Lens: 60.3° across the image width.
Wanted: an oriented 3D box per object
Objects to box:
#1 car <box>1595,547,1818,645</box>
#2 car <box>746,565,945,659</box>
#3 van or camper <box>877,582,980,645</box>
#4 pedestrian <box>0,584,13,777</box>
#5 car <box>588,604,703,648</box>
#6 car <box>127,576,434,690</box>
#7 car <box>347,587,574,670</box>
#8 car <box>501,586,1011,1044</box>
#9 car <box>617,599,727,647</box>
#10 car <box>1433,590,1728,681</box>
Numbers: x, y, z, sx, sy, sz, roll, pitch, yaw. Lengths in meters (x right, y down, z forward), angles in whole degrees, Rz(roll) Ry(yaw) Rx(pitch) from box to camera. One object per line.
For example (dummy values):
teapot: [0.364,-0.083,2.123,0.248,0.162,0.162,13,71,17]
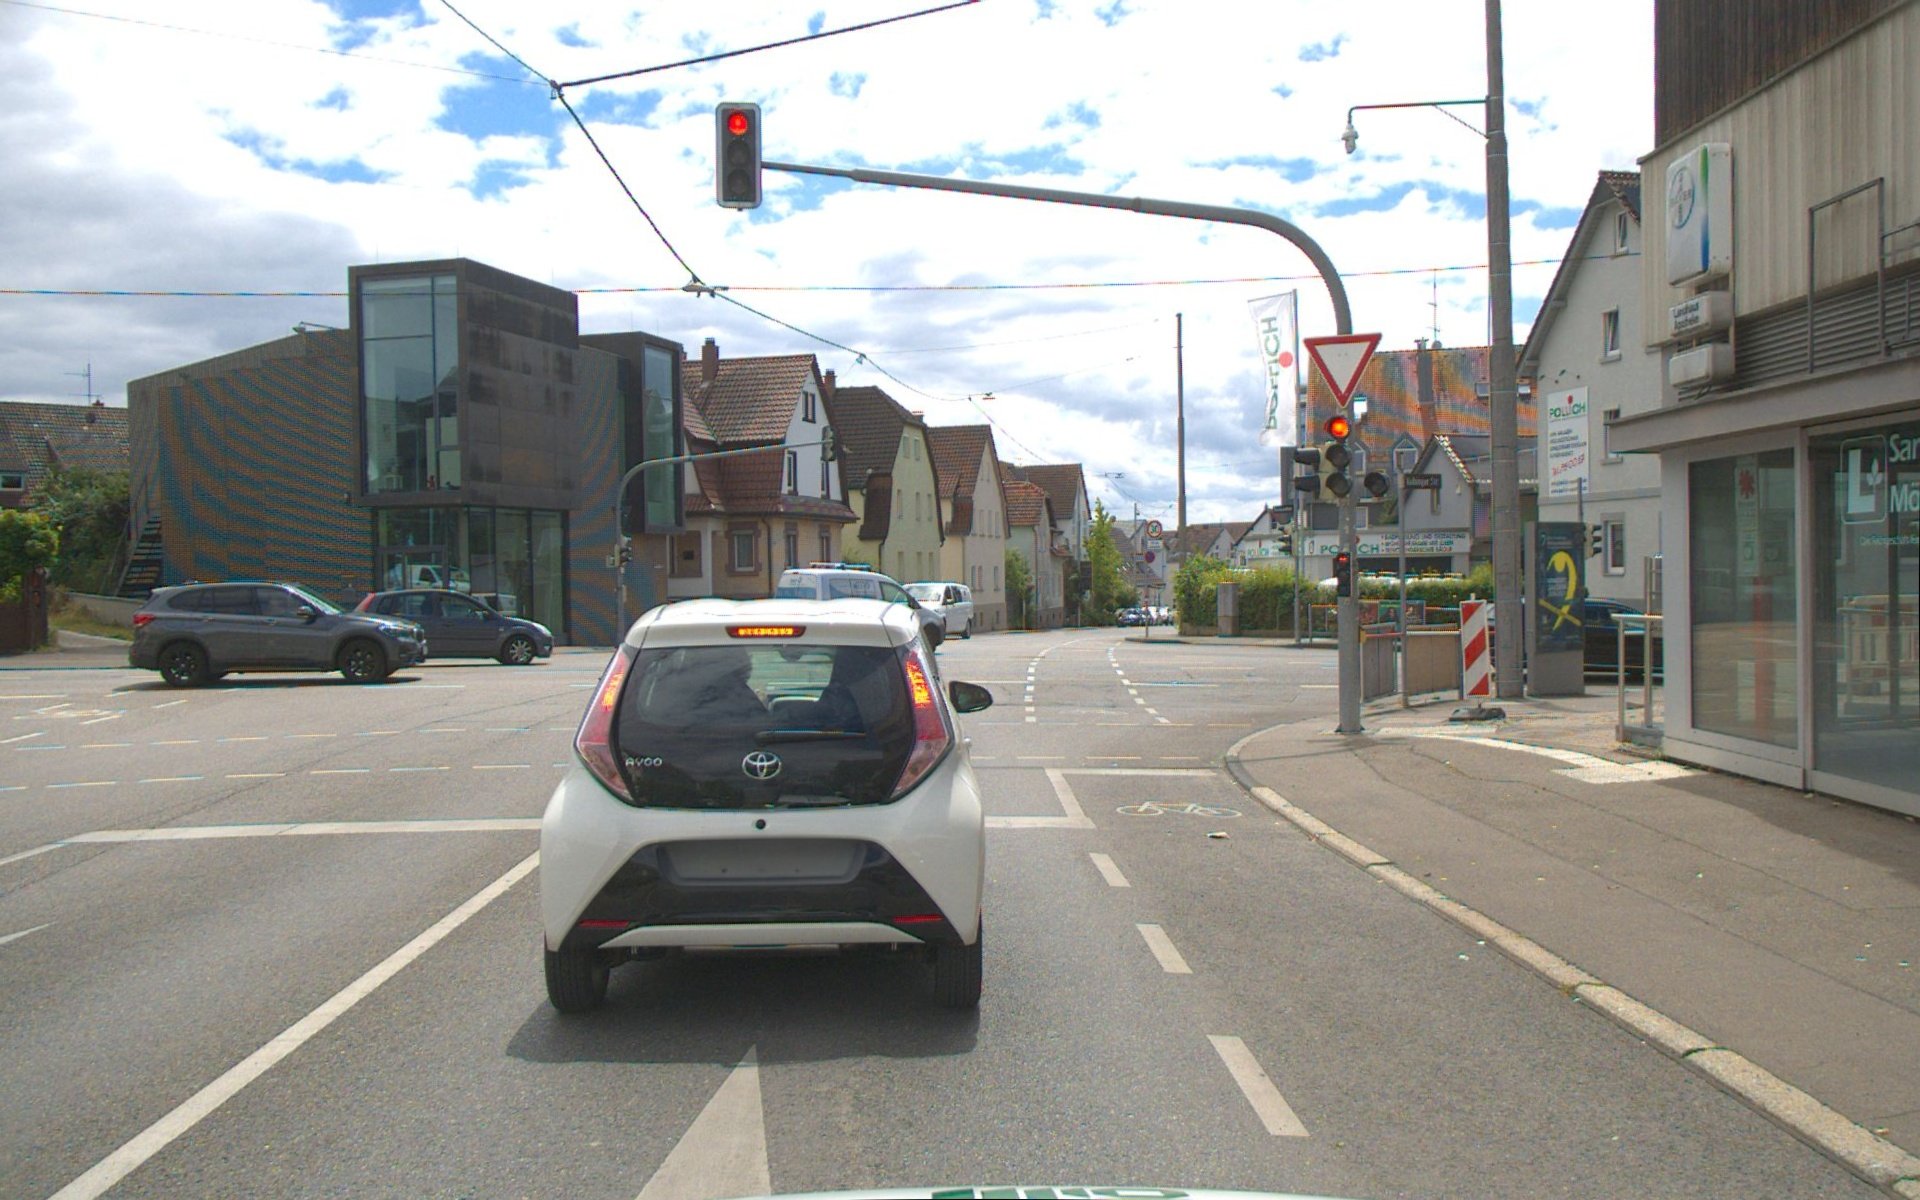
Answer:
car: [15.124,-0.099,33.550,3.914,1.870,1.995,1,0,32]
car: [-2.407,0.249,35.472,1.964,1.881,4.049,1,0,41]
van or camper: [-0.961,0.416,54.694,2.070,1.959,5.289,1,0,14]
pedestrian: [-9.111,0.738,14.841,0.807,1.751,0.816,0,0,-9]
car: [-10.896,0.892,57.437,3.537,1.444,1.693,1,0,11]
car: [-10.743,0.487,26.466,4.216,1.705,1.994,-1,0,-12]
car: [-9.544,0.534,31.589,3.935,1.512,1.985,1,0,-24]
car: [-0.738,0.686,7.083,1.663,1.482,3.297,0,1,-3]
car: [-10.358,0.801,59.569,3.537,1.633,1.693,1,0,11]
car: [11.487,0.641,30.757,4.806,1.605,1.996,0,0,-9]
